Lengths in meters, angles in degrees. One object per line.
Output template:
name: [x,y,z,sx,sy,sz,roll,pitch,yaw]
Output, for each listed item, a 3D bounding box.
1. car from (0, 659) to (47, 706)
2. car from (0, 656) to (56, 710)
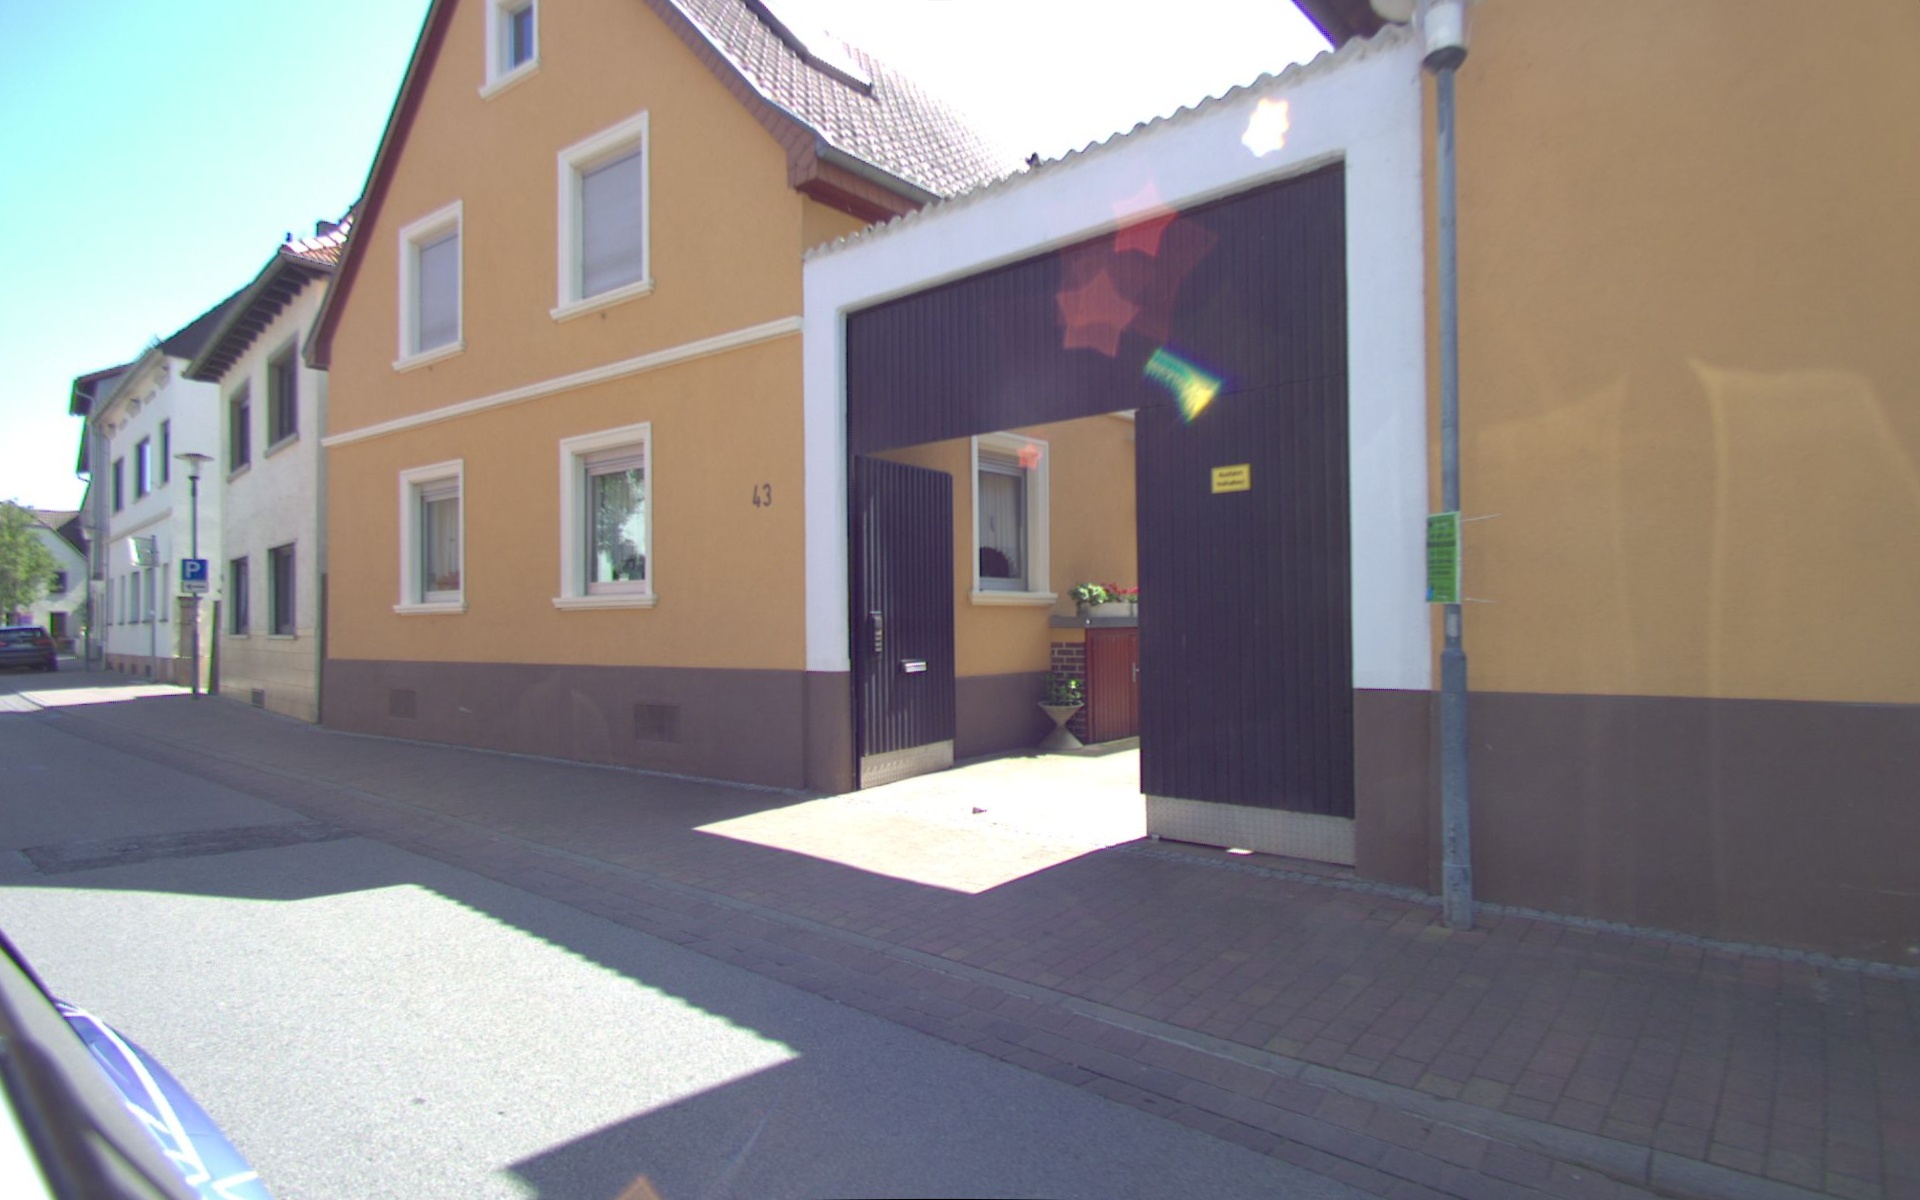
car: [-35.448,3.042,37.726,1.890,1.627,3.988,1,-3,-44]
car: [-31.877,2.771,34.188,1.837,1.642,4.050,-1,-1,-44]
